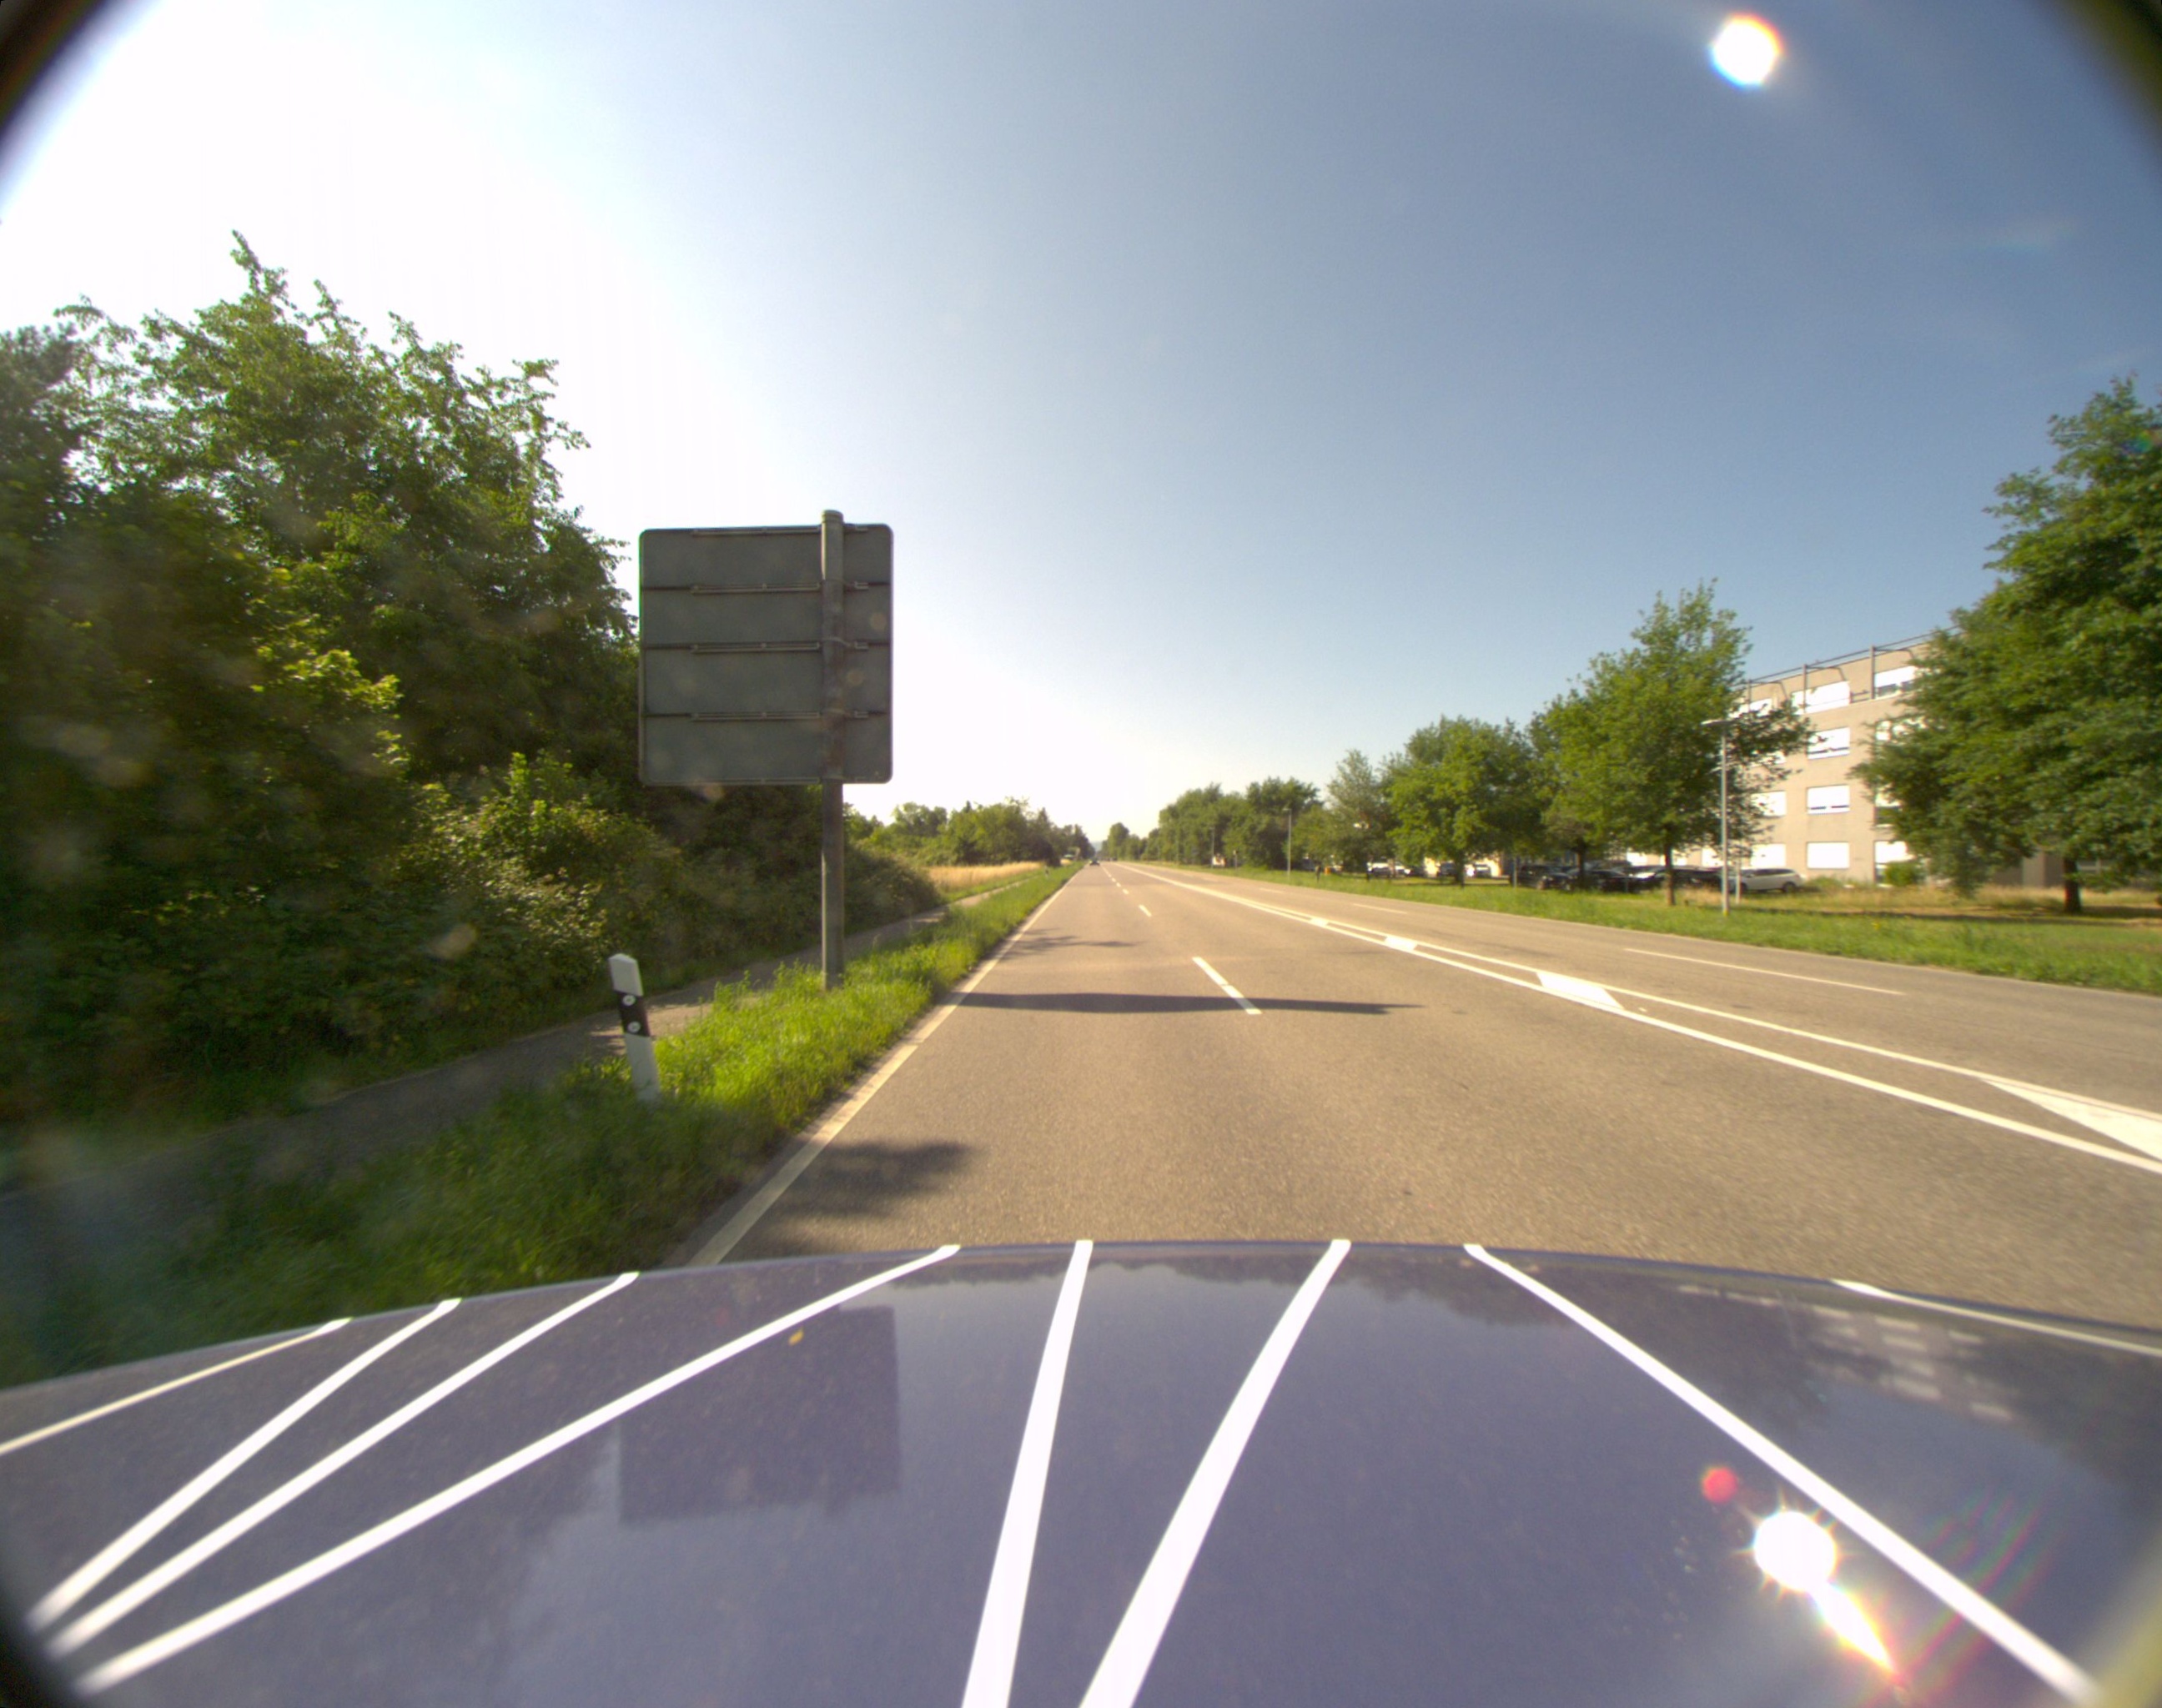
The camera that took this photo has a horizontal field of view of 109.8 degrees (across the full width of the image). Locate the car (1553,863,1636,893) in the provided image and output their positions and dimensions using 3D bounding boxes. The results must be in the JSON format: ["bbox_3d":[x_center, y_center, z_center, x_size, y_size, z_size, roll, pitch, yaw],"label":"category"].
[{"bbox_3d":[29.533,1.331,43.857,1.747,1.569,4.548,0,0,1],"label":"car"}]

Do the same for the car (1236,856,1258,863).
[{"bbox_3d":[33.454,1.114,152.947,3.997,1.492,1.758,0,0,1],"label":"car"}]

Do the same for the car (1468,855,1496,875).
[{"bbox_3d":[38.060,1.035,72.080,2.068,1.796,5.025,0,1,32],"label":"car"}]

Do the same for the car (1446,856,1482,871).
[{"bbox_3d":[41.764,1.026,82.957,1.861,1.648,4.169,0,0,1],"label":"car"}]

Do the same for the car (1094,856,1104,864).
[{"bbox_3d":[3.136,1.087,132.442,1.768,1.403,4.001,0,-1,2],"label":"car"}]

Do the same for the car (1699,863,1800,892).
[{"bbox_3d":[37.354,1.290,42.514,4.145,1.576,1.742,0,0,0],"label":"car"}]

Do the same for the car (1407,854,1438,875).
[{"bbox_3d":[32.140,0.954,71.430,2.068,1.796,5.025,0,1,32],"label":"car"}]

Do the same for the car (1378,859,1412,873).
[{"bbox_3d":[33.585,1.230,81.366,1.934,1.386,4.191,0,0,0],"label":"car"}]

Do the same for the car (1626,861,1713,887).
[{"bbox_3d":[36.914,1.243,47.731,3.997,1.527,1.888,0,0,0],"label":"car"}]

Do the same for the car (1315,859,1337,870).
[{"bbox_3d":[31.298,1.382,97.153,1.676,1.342,4.000,0,0,1],"label":"car"}]

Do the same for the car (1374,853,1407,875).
[{"bbox_3d":[29.138,0.897,71.406,2.068,1.918,5.025,0,1,32],"label":"car"}]

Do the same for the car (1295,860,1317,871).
[{"bbox_3d":[28.607,1.390,96.698,1.676,1.342,4.000,0,0,1],"label":"car"}]

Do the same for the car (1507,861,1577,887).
[{"bbox_3d":[29.477,1.238,48.744,1.747,1.569,4.548,0,0,1],"label":"car"}]

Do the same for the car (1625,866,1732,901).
[{"bbox_3d":[29.372,1.405,37.529,1.747,1.569,4.548,0,0,1],"label":"car"}]
